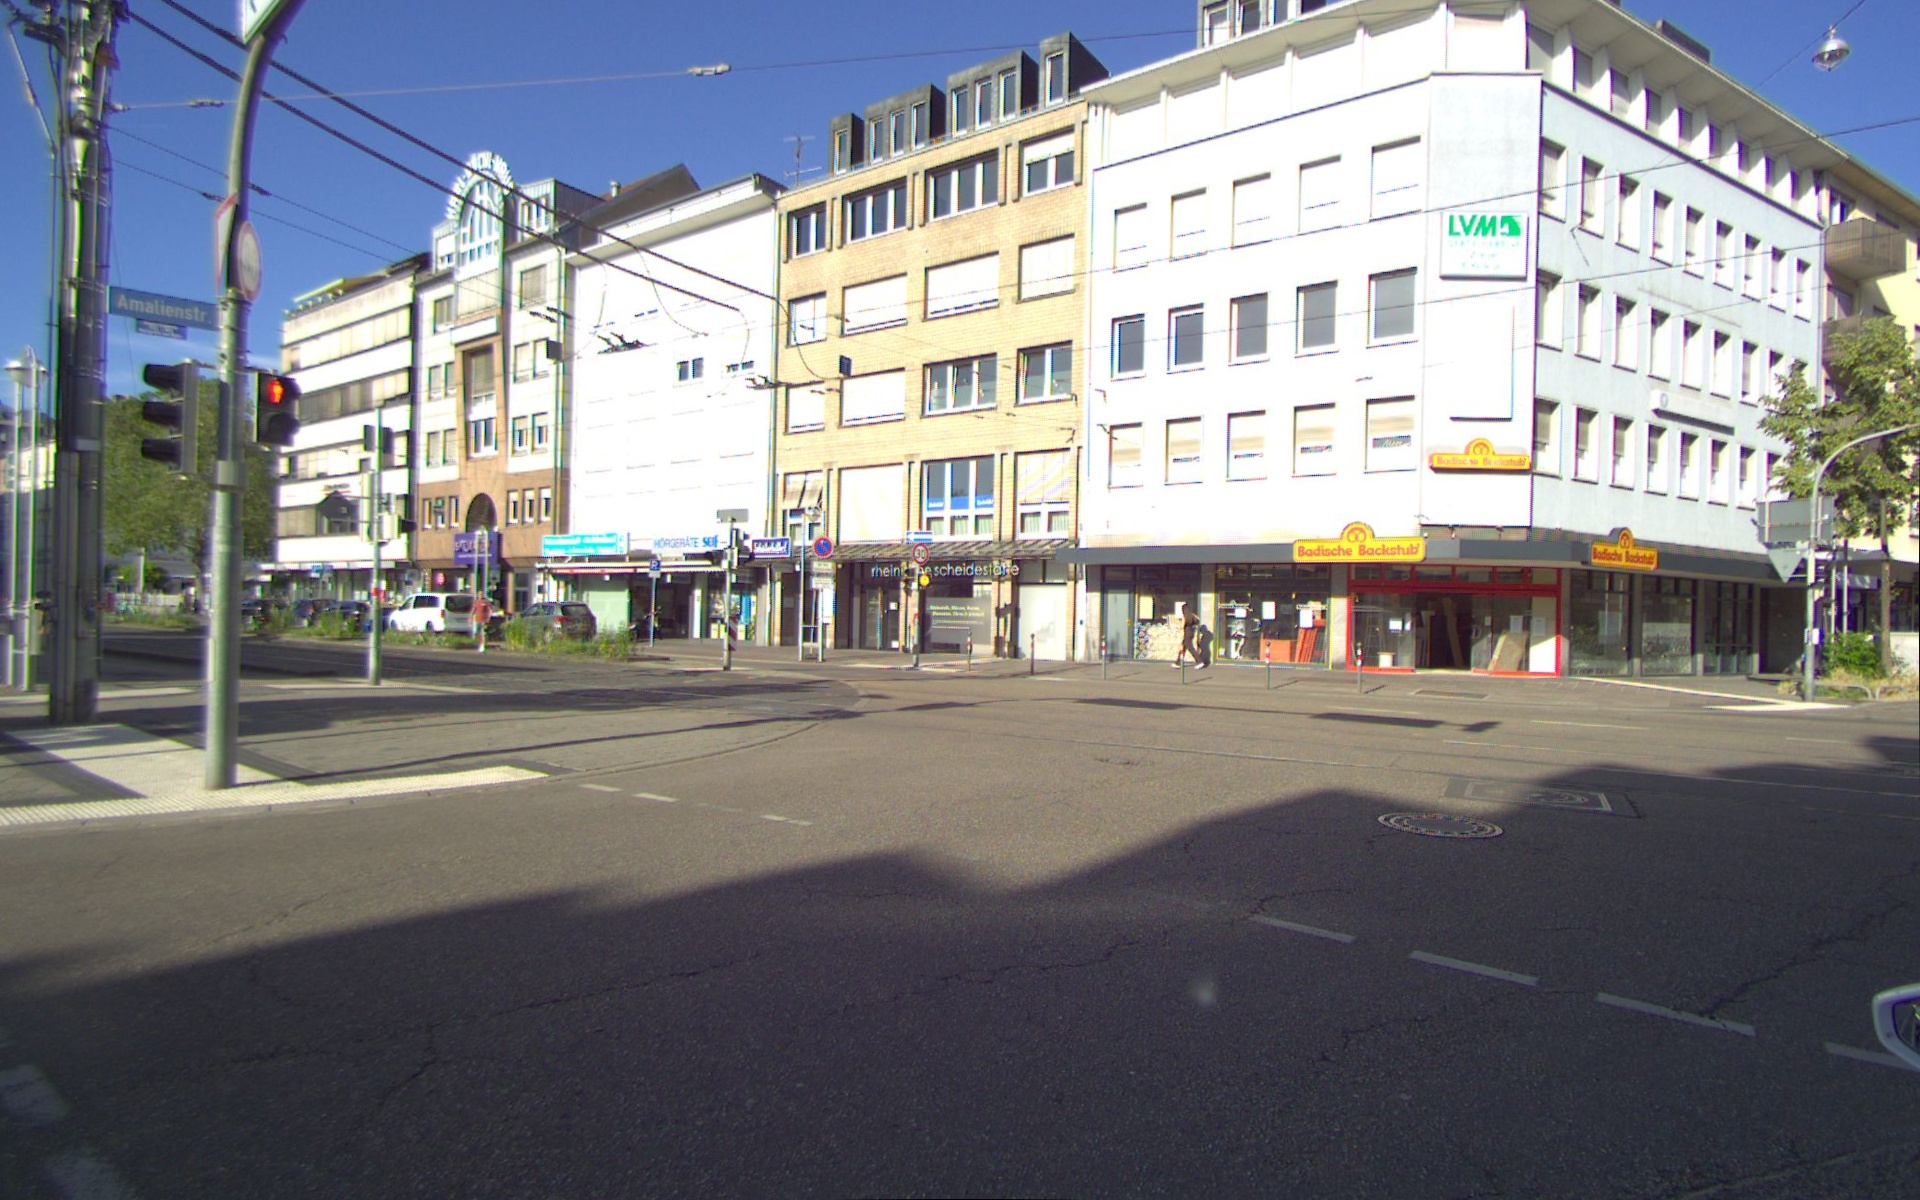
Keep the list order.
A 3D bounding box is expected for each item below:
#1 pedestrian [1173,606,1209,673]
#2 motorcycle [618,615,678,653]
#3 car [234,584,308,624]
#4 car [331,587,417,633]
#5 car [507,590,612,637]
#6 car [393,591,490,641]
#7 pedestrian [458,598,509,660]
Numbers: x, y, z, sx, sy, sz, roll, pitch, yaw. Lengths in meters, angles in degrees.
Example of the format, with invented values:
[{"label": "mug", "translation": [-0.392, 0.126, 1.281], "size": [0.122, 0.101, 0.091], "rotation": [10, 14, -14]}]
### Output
[{"label": "pedestrian", "translation": [6.024, 1.021, 26.216], "size": [0.704, 1.732, 0.555], "rotation": [2, -1, -33]}, {"label": "motorcycle", "translation": [-13.026, 1.425, 41.970], "size": [0.983, 1.525, 2.250], "rotation": [1, -1, 33]}, {"label": "car", "translation": [-36.233, 0.217, 52.793], "size": [3.935, 2.040, 1.993], "rotation": [1, 0, 36]}, {"label": "car", "translation": [-27.123, 0.444, 46.468], "size": [3.935, 2.040, 1.993], "rotation": [1, 0, 36]}, {"label": "car", "translation": [-15.587, 0.499, 39.001], "size": [3.935, 1.728, 1.993], "rotation": [1, 0, 36]}, {"label": "car", "translation": [-22.462, 0.655, 43.440], "size": [4.768, 2.040, 1.991], "rotation": [1, 0, 39]}, {"label": "pedestrian", "translation": [-13.280, 0.801, 28.026], "size": [0.898, 1.685, 0.946], "rotation": [1, -1, 7]}]
